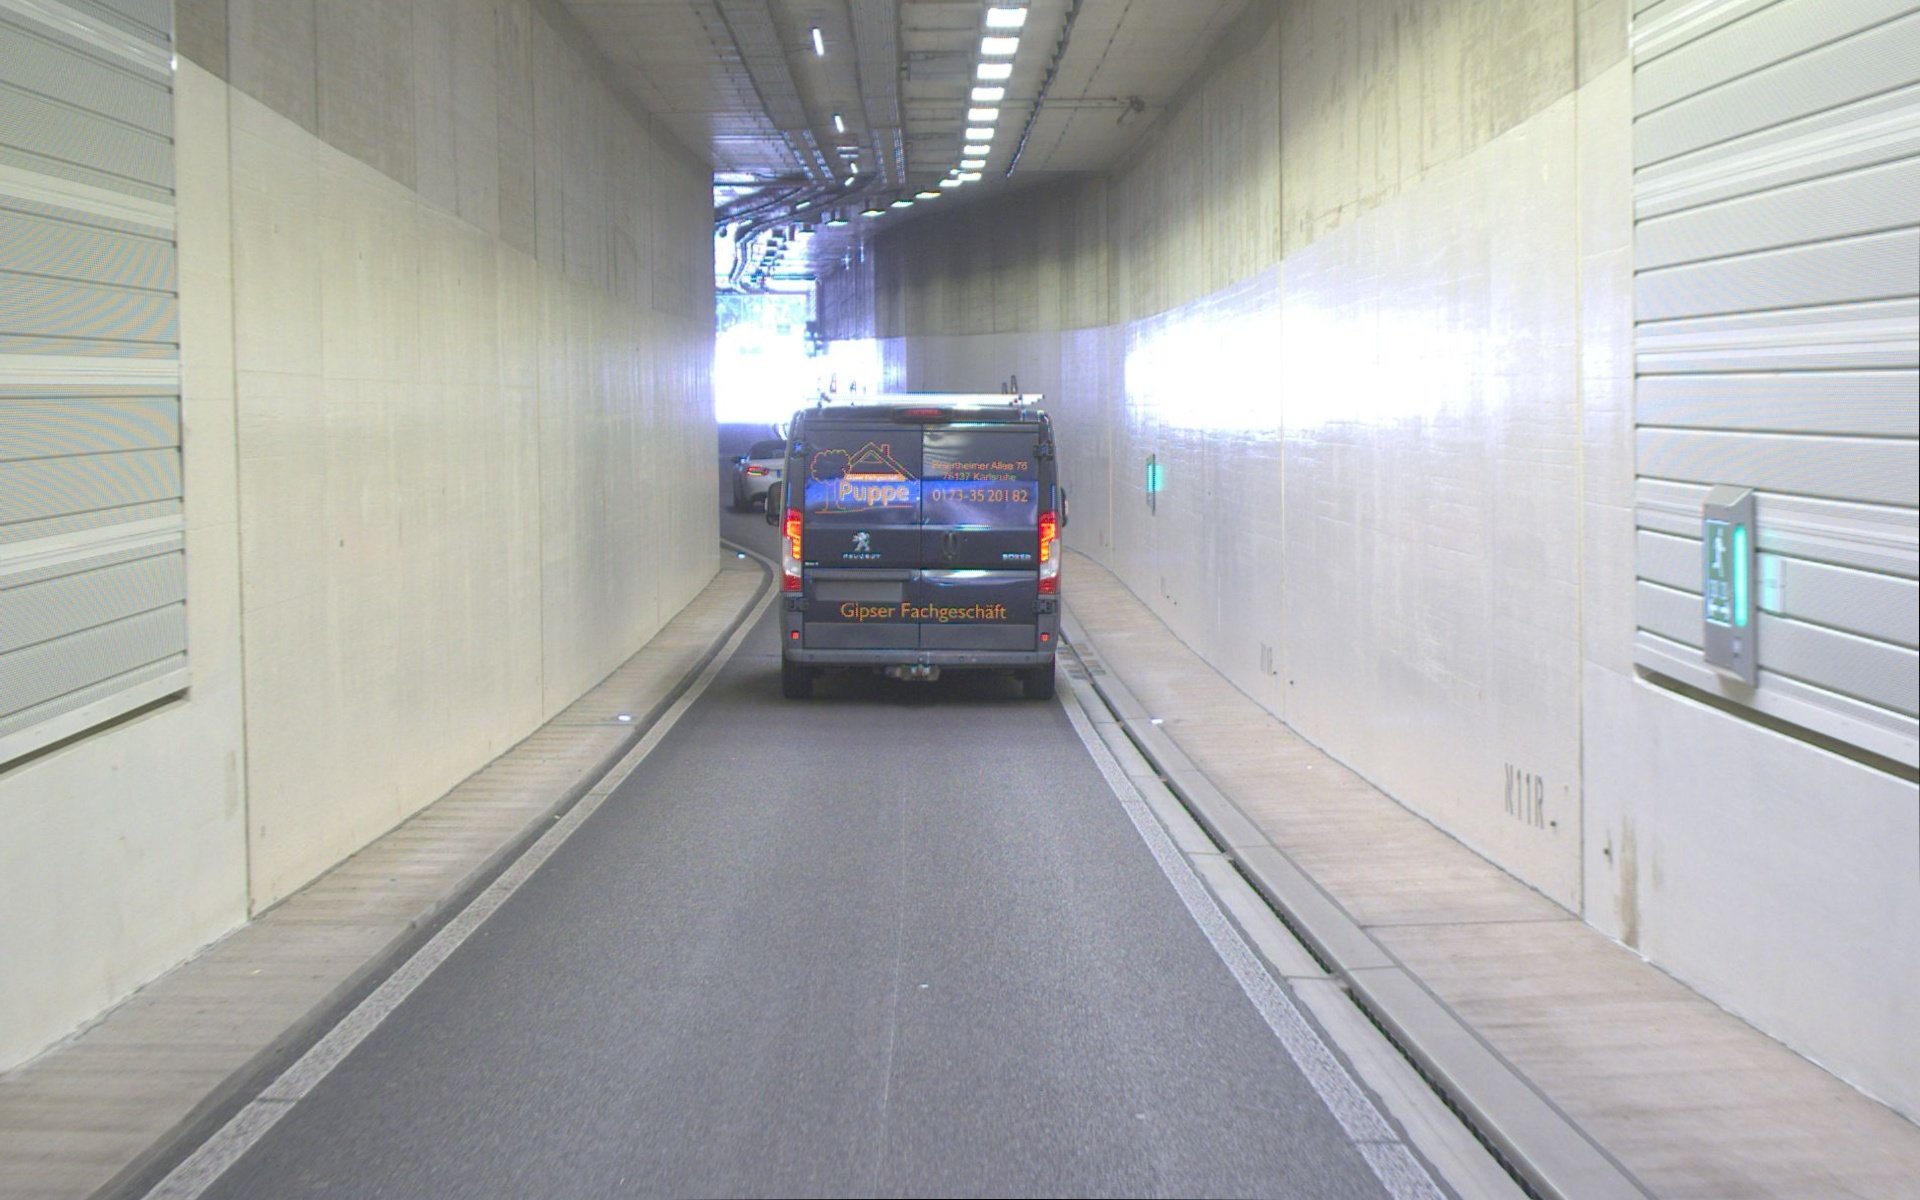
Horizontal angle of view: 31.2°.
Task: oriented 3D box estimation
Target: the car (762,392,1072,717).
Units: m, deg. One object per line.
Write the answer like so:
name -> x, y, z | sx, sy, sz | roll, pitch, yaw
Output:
car -> -0.324, -0.440, 26.555 | 2.158, 2.258, 4.637 | 1, 3, 0

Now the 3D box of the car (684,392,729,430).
car -> -11.060, -8.238, 149.932 | 1.876, 1.619, 4.222 | 1, 3, -5

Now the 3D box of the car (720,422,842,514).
car -> -3.146, -2.371, 60.991 | 2.085, 1.508, 4.638 | 0, 4, -2
